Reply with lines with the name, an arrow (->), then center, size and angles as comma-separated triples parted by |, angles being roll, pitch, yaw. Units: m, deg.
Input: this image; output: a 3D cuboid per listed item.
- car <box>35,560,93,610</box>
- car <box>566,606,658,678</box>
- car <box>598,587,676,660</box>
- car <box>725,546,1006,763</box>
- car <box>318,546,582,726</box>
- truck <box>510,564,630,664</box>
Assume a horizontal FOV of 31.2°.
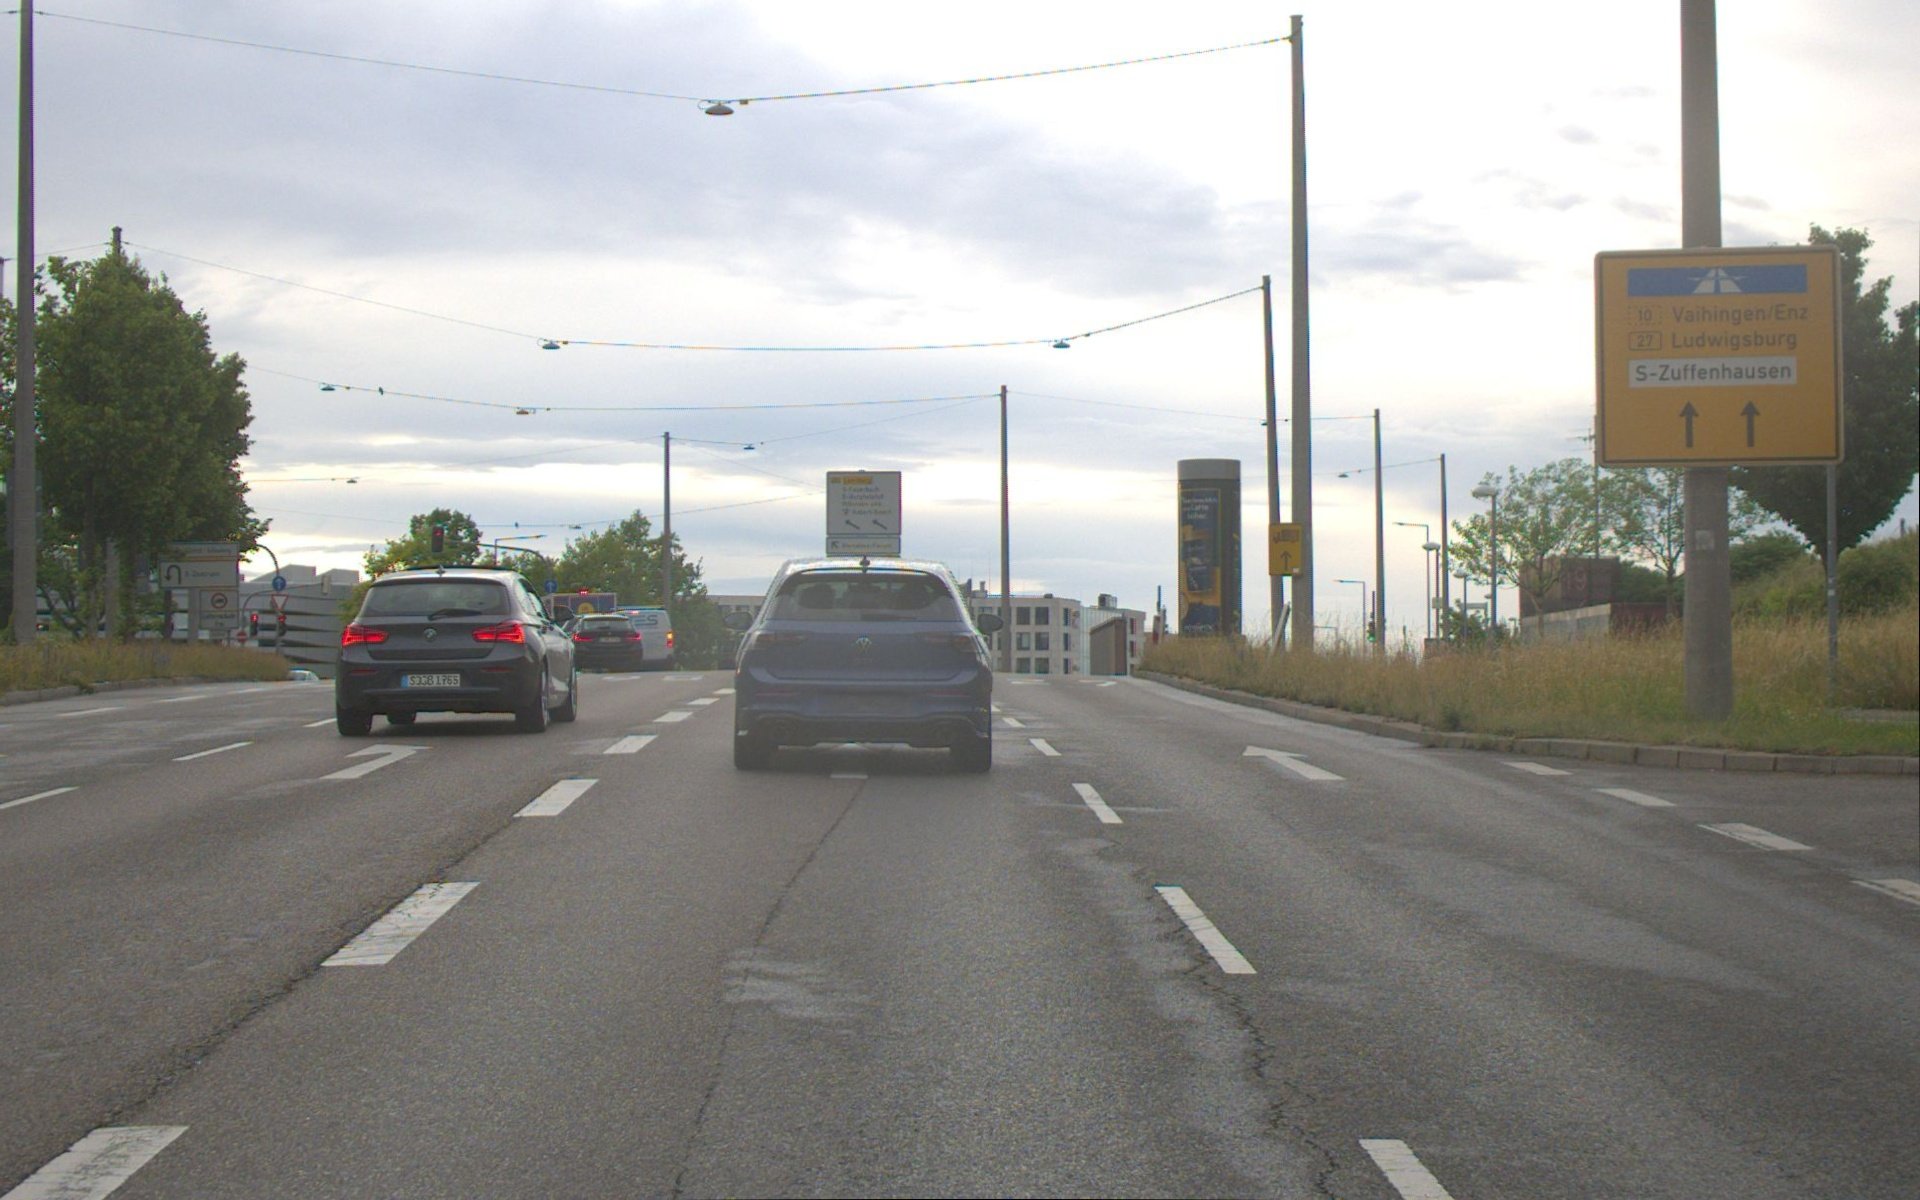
car -> -30.425, -0.504, 116.732 | 1.892, 1.652, 4.606 | 0, 0, -15
car -> -8.312, 0.983, 82.316 | 1.722, 1.536, 3.704 | 2, 1, 1
car -> -9.308, 0.708, 98.754 | 1.904, 1.966, 5.093 | -1, -1, -9
car -> -0.621, 0.325, 24.485 | 1.838, 1.389, 4.000 | 0, 1, 0
car -> -4.457, 0.270, 30.567 | 1.869, 1.456, 3.977 | 0, 1, -2
truck -> -13.094, 0.497, 115.047 | 2.665, 3.209, 6.550 | 1, -1, -18
